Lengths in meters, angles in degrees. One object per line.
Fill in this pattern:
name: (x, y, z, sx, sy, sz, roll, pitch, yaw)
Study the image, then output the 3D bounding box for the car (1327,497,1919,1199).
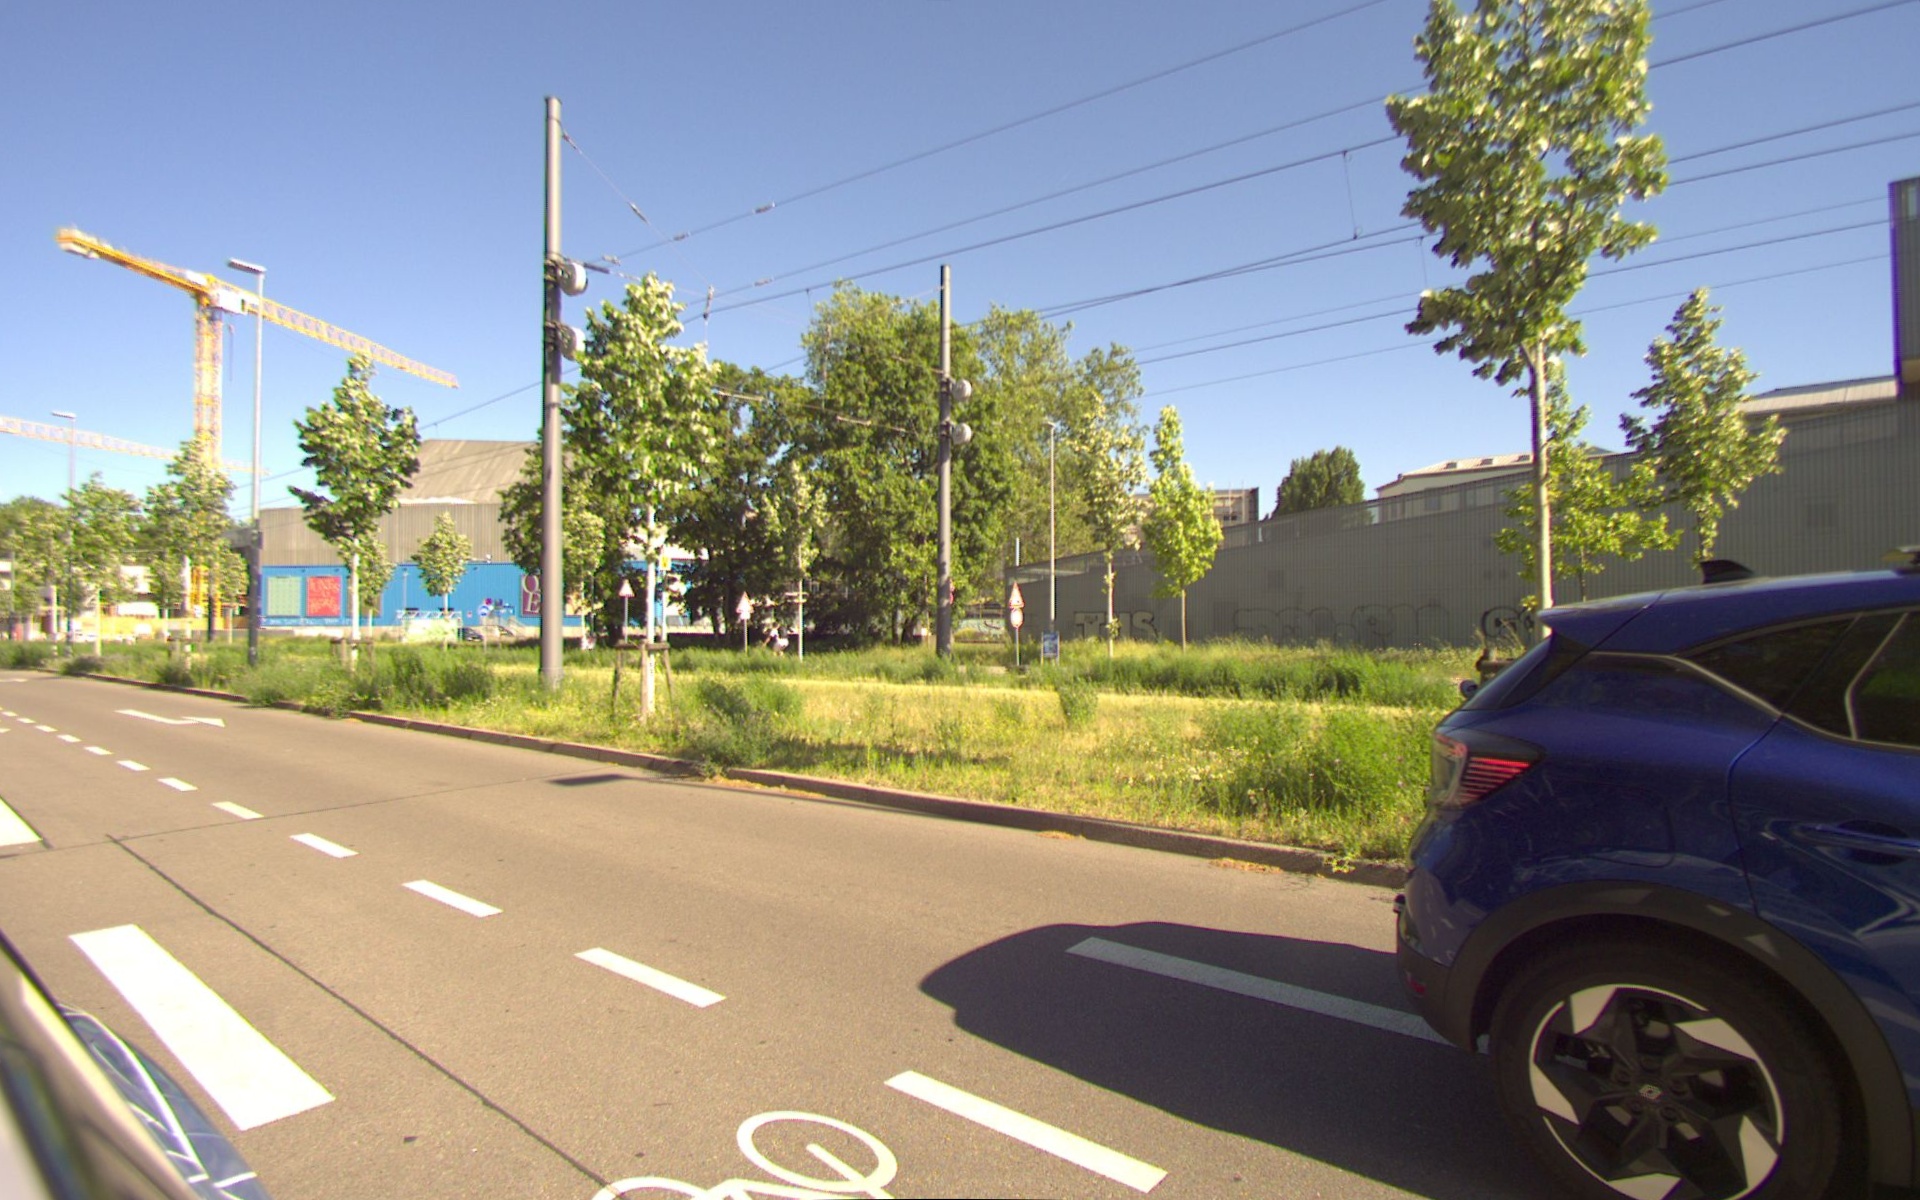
car: (3.138, 0.589, 2.051, 4.148, 1.635, 1.727, -2, -1, 39)

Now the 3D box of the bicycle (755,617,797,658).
bicycle: (-6.699, 1.365, 36.775, 1.912, 1.466, 0.356, -2, -2, 41)

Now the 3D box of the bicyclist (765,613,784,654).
bicyclist: (-6.736, 1.228, 36.800, 0.539, 1.465, 0.390, -2, 0, 40)

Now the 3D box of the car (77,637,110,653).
car: (-78.515, 4.061, 91.675, 3.829, 1.409, 1.617, -2, -2, 39)

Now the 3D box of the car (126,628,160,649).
car: (-76.231, 3.591, 94.420, 3.998, 1.811, 1.779, -1, 1, 41)
